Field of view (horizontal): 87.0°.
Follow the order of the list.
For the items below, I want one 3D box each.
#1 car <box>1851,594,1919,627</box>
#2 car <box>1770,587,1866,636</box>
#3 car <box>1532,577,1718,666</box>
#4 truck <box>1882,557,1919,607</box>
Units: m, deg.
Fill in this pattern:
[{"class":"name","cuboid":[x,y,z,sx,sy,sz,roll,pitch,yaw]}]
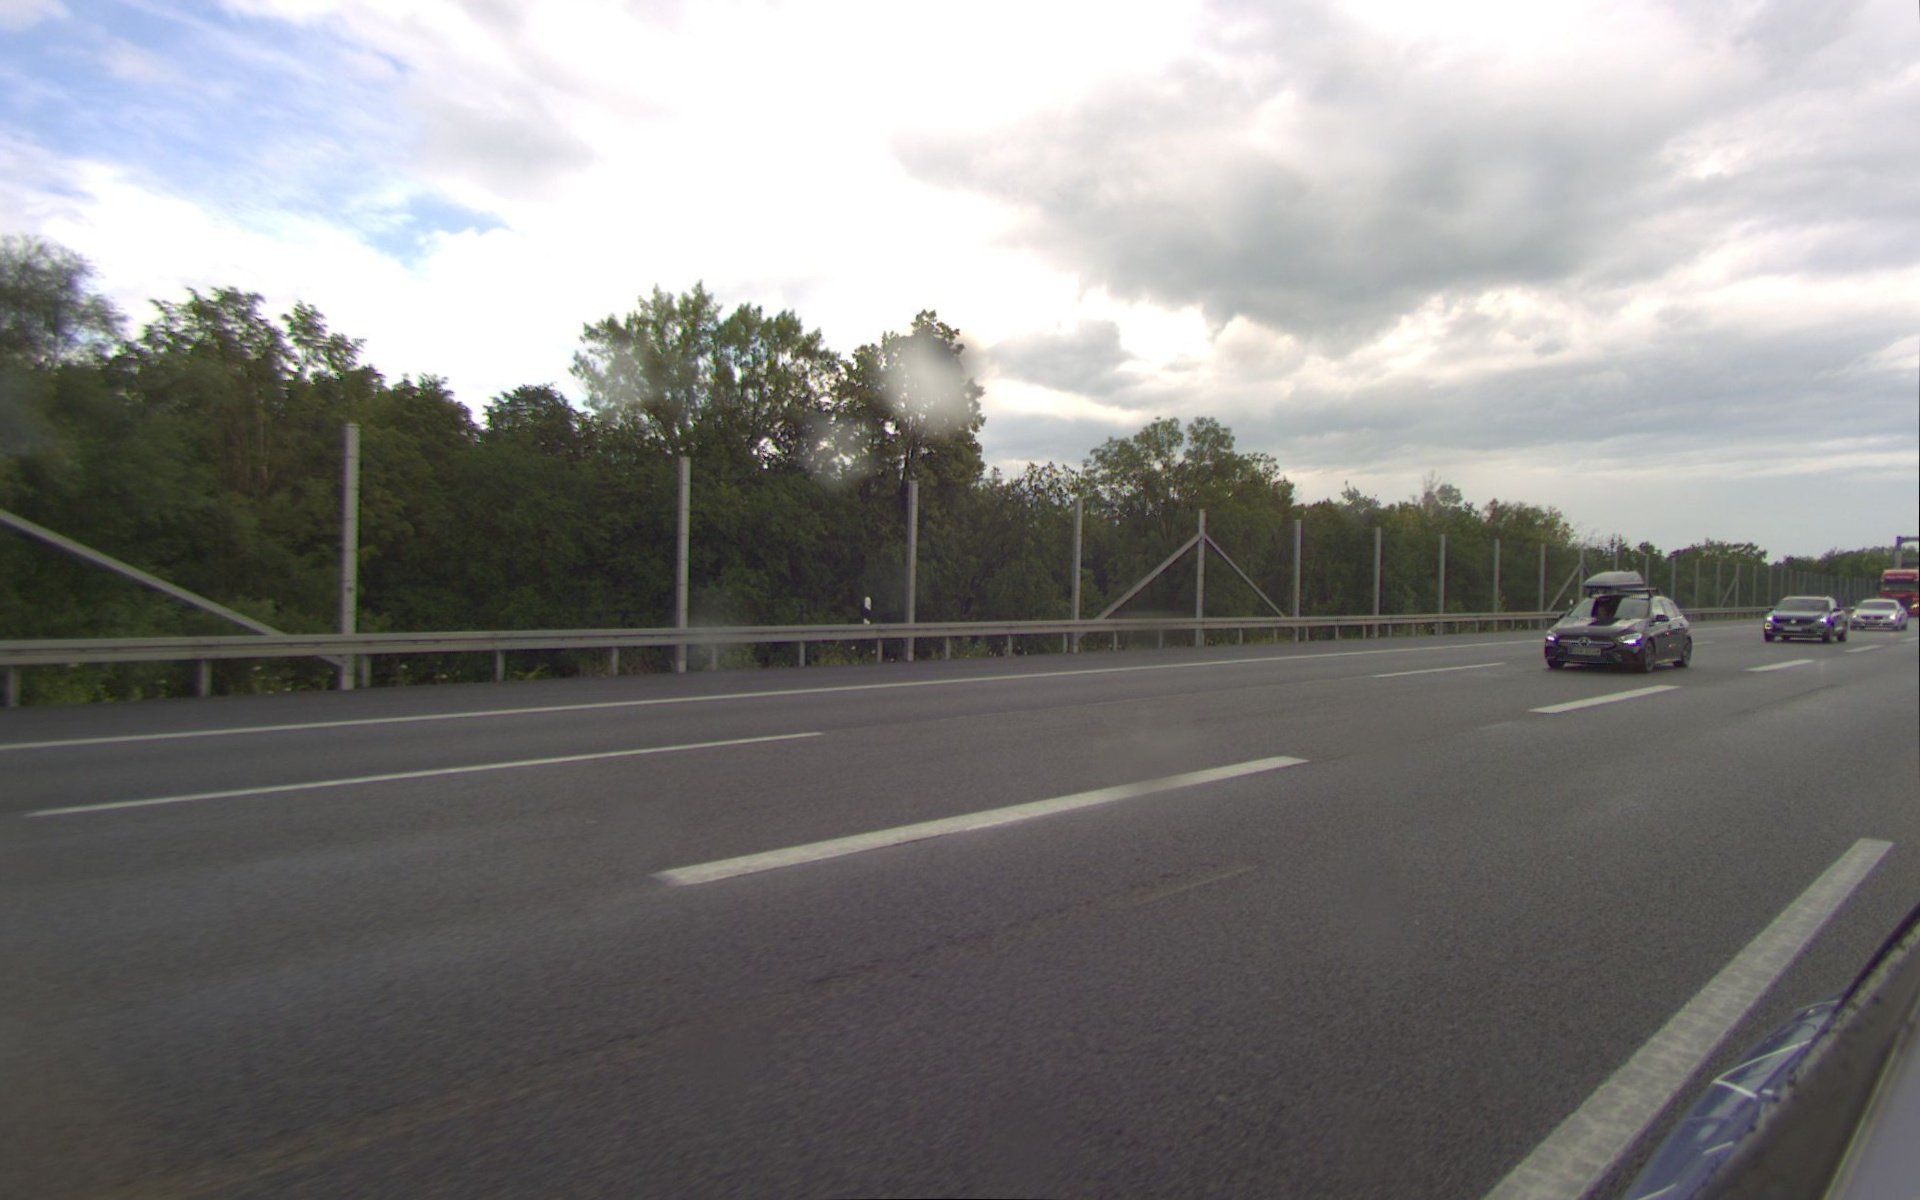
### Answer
[{"class":"car","cuboid":[44.018,0.515,48.055,4.168,1.465,1.897,2,-2,-39]},{"class":"car","cuboid":[29.266,0.370,34.488,3.653,1.582,1.797,0,1,-38]},{"class":"car","cuboid":[13.990,0.390,21.162,4.979,1.626,2.108,0,1,-43]},{"class":"truck","cuboid":[83.134,-1.400,87.469,15.358,4.054,3.159,0,0,-40]}]
